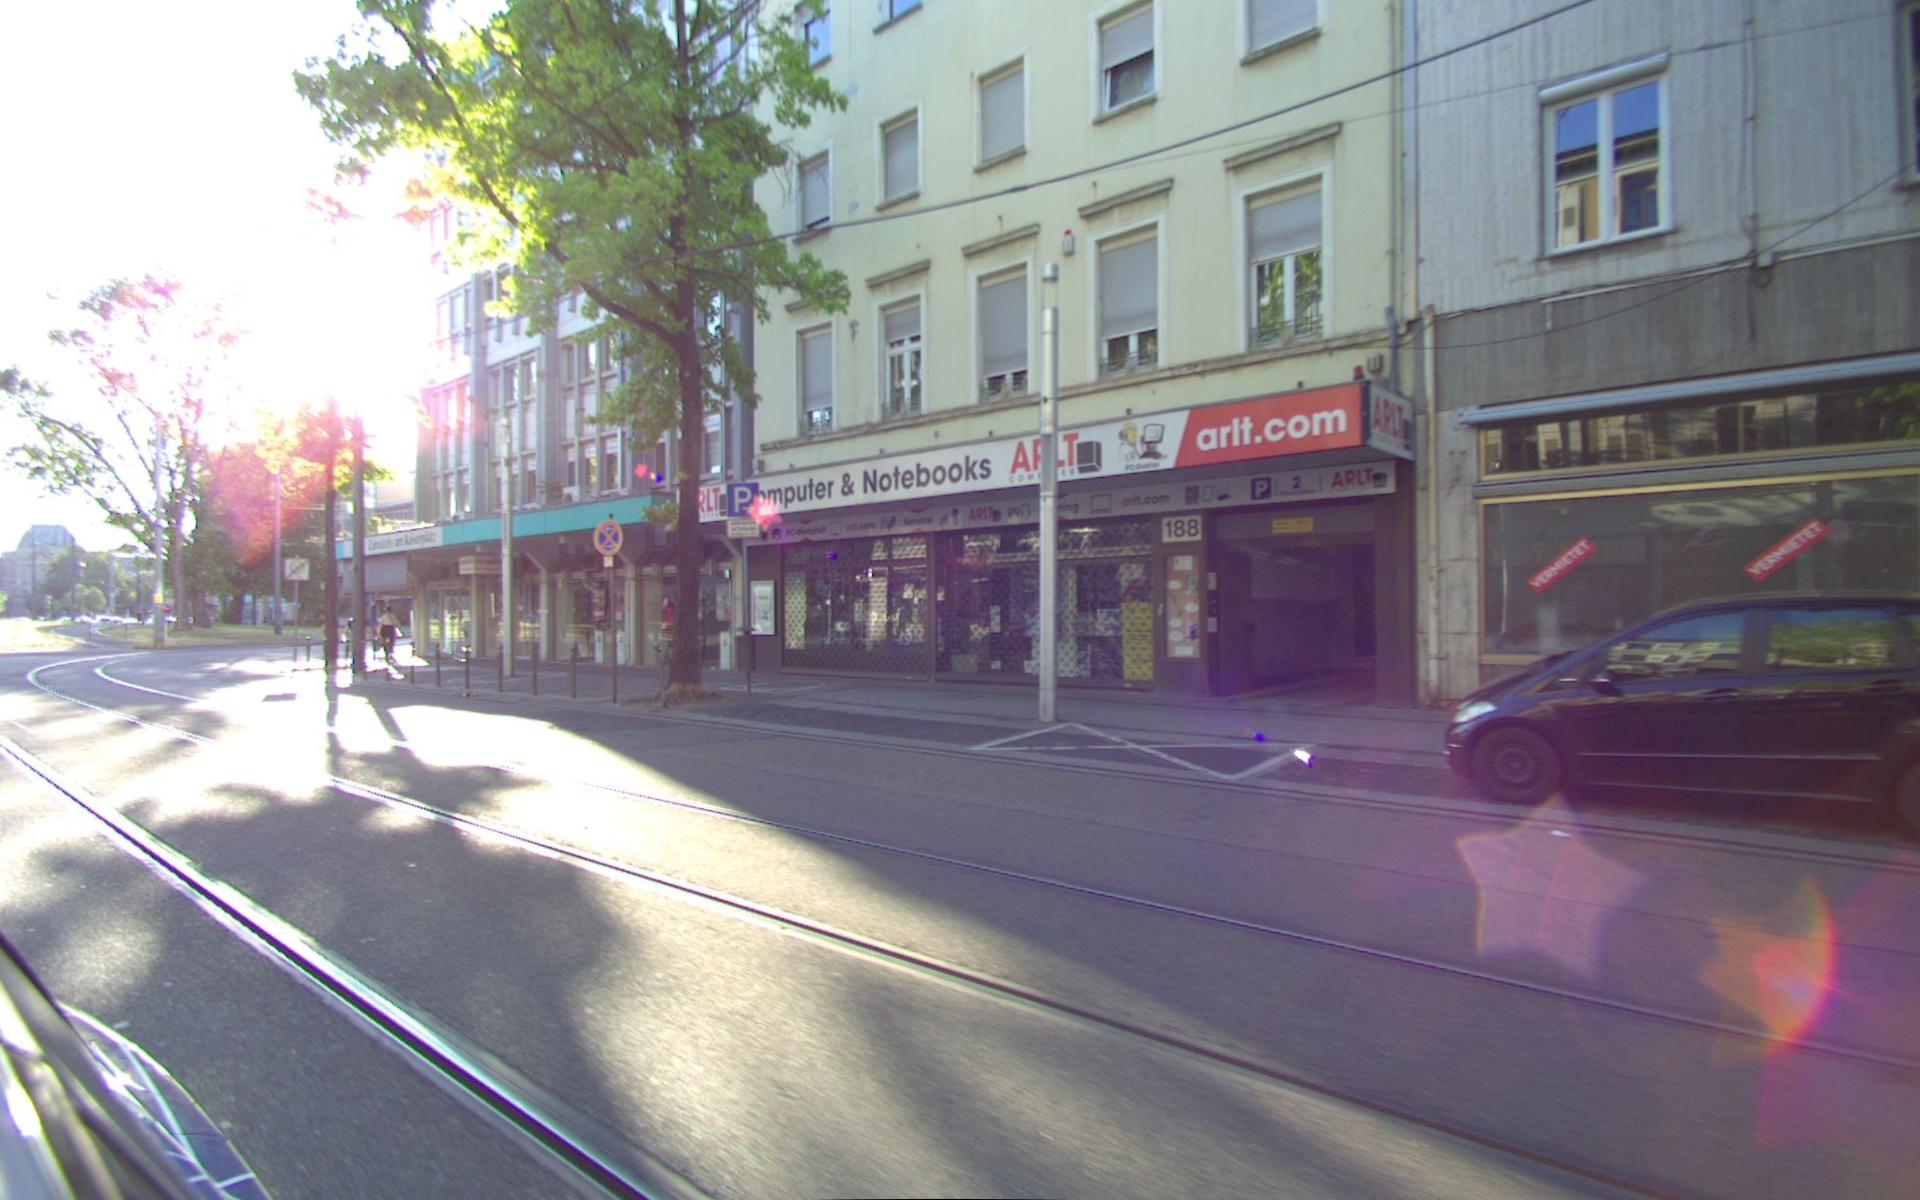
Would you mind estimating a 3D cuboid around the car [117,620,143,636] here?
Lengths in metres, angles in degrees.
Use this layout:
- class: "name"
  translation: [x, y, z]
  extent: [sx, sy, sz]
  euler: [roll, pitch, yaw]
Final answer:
- class: "car"
  translation: [-103.599, 3.467, 126.318]
  extent: [3.999, 2.029, 1.972]
  euler: [-1, -2, 42]

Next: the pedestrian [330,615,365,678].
- class: "pedestrian"
  translation: [-20.101, 1.501, 33.214]
  extent: [0.734, 2.029, 0.788]
  euler: [-1, -1, 42]

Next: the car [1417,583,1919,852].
- class: "car"
  translation: [5.882, 0.745, 7.705]
  extent: [3.996, 1.652, 1.942]
  euler: [-1, 1, 40]

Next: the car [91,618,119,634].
- class: "car"
  translation: [-112.400, 3.452, 133.048]
  extent: [4.543, 2.029, 1.974]
  euler: [-1, -1, 39]

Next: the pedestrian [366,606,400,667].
- class: "pedestrian"
  translation: [-19.292, 1.211, 33.827]
  extent: [0.734, 2.029, 0.788]
  euler: [-1, -1, 42]
